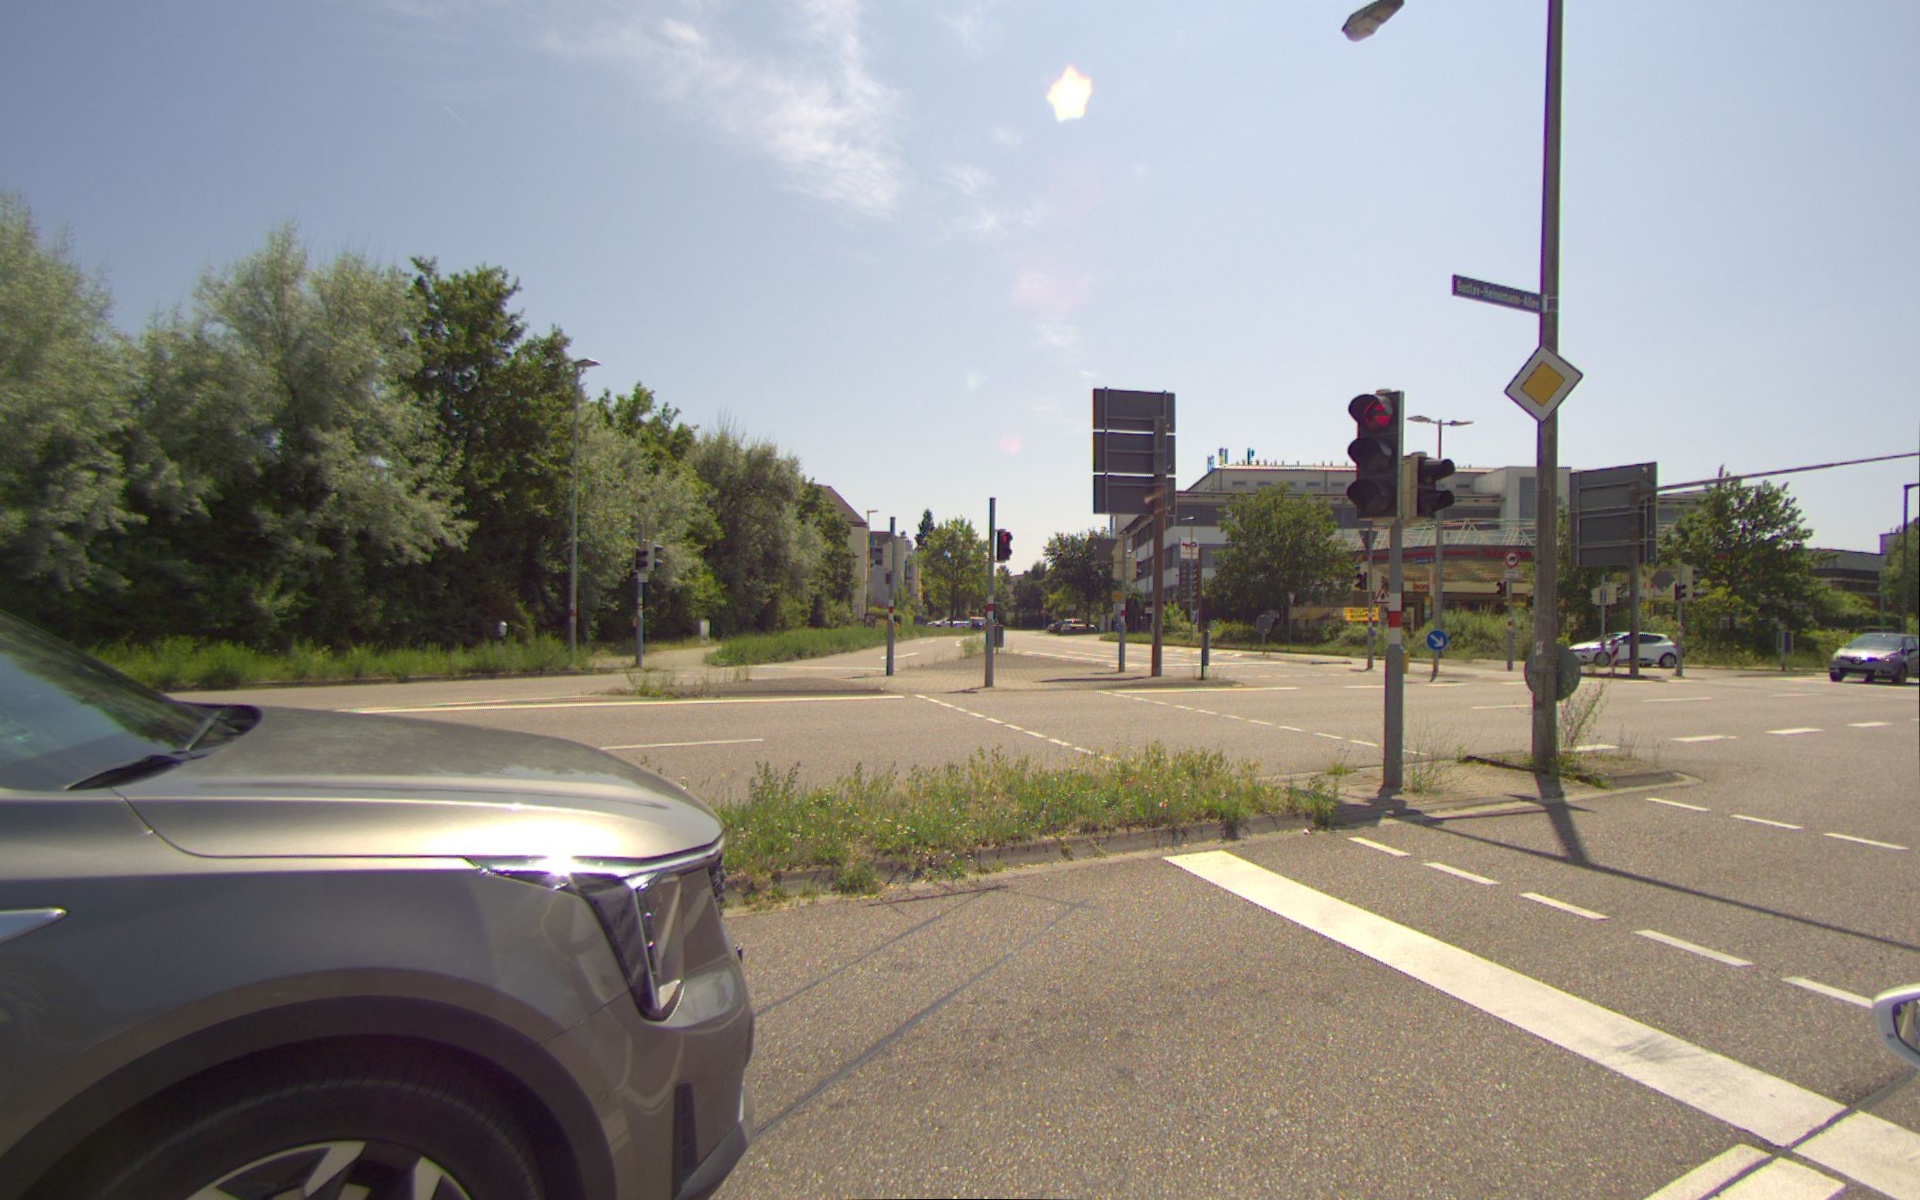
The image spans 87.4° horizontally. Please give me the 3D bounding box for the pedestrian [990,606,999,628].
[{"bbox_3d":[4.268,2.124,125.192,0.864,2.751,1.518,2,0,8],"label":"pedestrian"}]

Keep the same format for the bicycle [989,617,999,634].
[{"bbox_3d":[4.246,3.157,125.173,0.876,2.040,3.196,1,-1,6],"label":"bicycle"}]

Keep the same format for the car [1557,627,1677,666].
[{"bbox_3d":[27.273,1.909,41.822,3.750,1.469,1.830,2,-1,5],"label":"car"}]

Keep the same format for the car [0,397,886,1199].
[{"bbox_3d":[-2.520,0.559,1.595,4.480,1.690,1.771,2,-1,-31],"label":"car"}]

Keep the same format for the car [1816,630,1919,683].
[{"bbox_3d":[29.125,1.762,31.994,3.954,1.560,1.650,2,-1,-31],"label":"car"}]
